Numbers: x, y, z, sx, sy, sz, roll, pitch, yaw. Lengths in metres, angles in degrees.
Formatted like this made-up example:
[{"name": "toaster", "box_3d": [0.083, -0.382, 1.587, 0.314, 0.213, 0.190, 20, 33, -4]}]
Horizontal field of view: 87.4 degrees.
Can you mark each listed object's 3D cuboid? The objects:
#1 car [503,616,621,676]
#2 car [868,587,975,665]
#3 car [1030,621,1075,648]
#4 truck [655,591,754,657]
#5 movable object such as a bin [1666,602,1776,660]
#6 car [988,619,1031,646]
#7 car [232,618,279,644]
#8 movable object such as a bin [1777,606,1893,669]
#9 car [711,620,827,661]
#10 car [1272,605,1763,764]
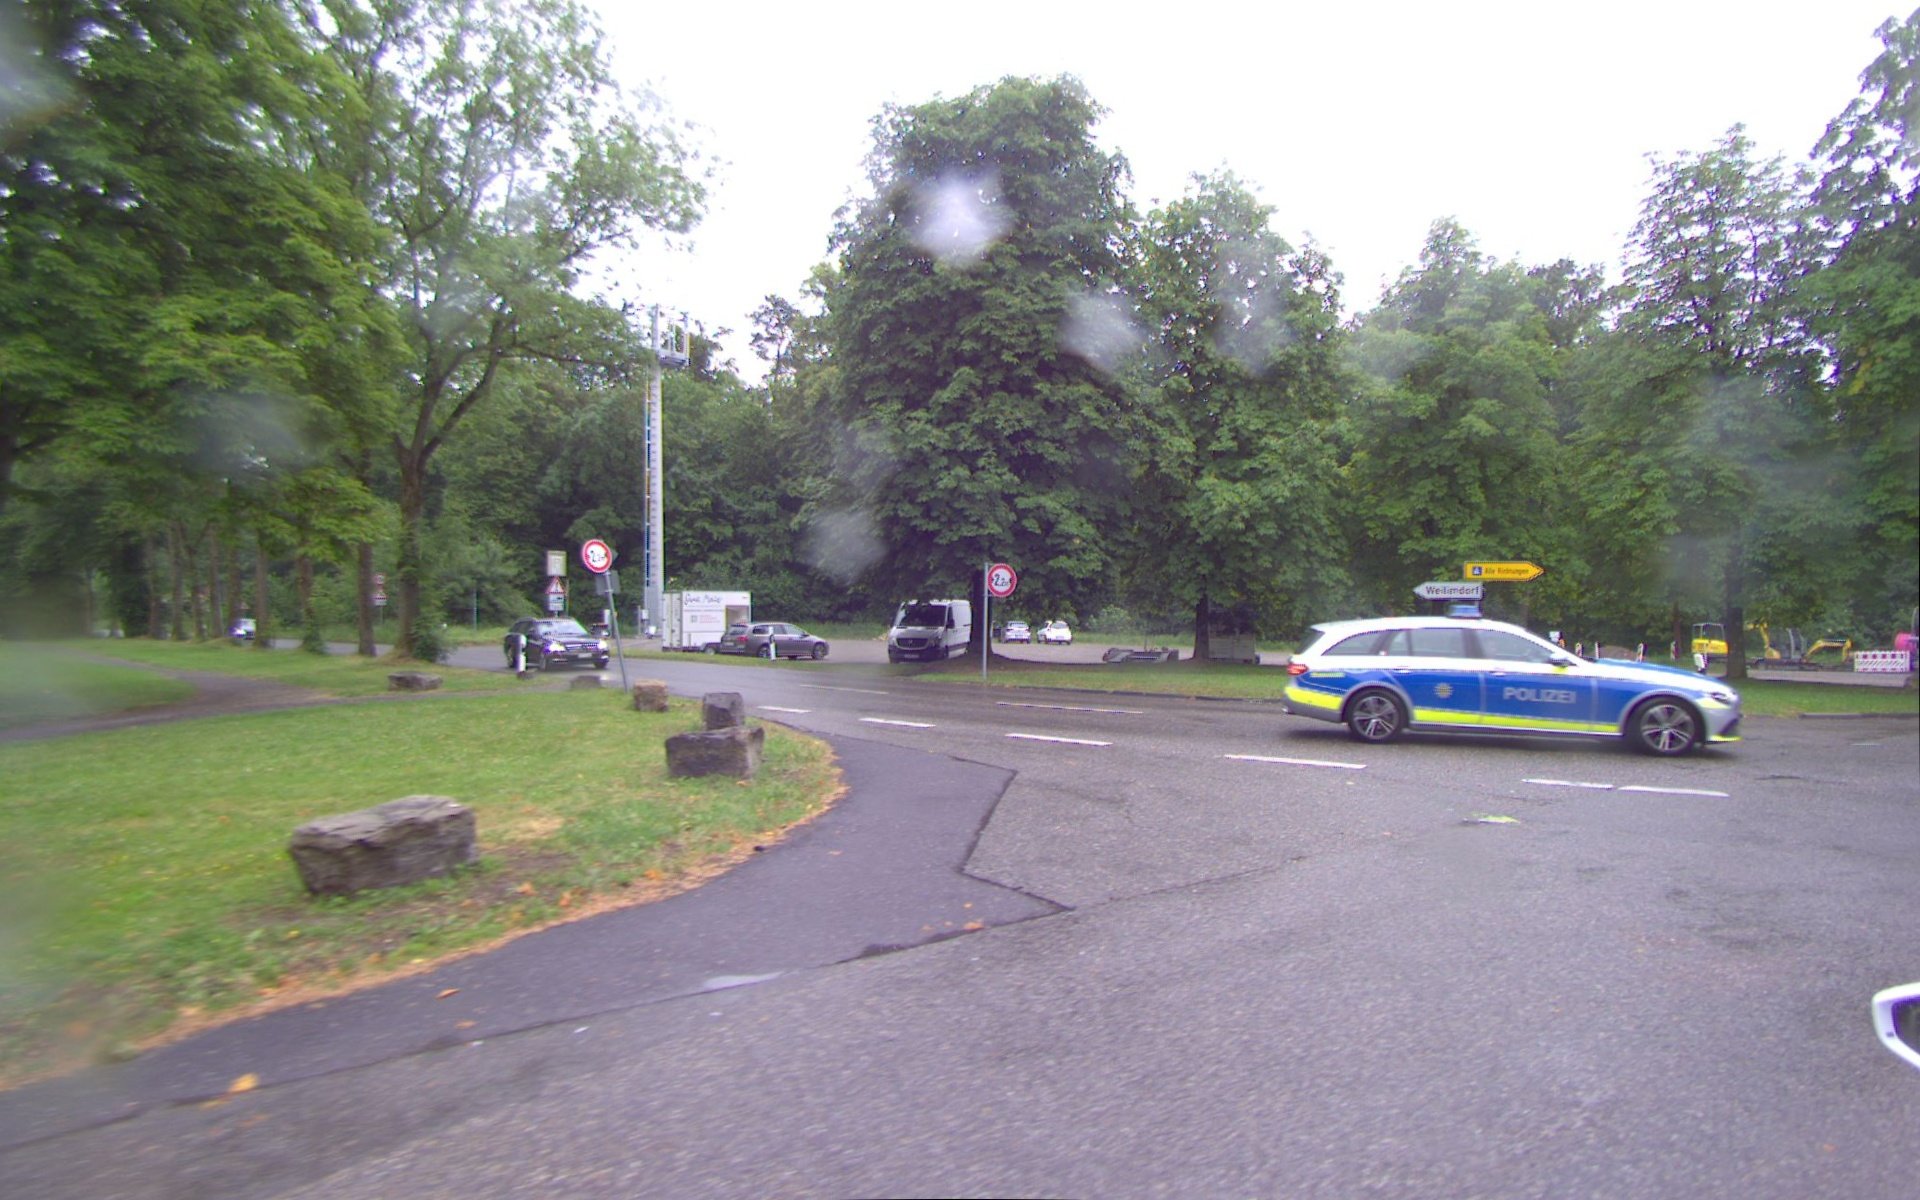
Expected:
[{"name": "car", "box_3d": [-11.504, 1.262, 28.921, 1.720, 1.502, 4.123, 1, 0, -44]}, {"name": "car", "box_3d": [-1.239, 0.924, 35.927, 2.344, 2.439, 5.988, 2, -1, 12]}, {"name": "car", "box_3d": [6.007, 2.247, 65.697, 1.964, 1.606, 3.992, 1, 0, -10]}, {"name": "truck", "box_3d": [-10.099, 0.928, 39.869, 3.327, 2.475, 1.851, 1, 0, -44]}, {"name": "movable object such as a bin", "box_3d": [46.160, 1.853, 60.957, 3.883, 3.338, 4.615, 1, -1, -41]}, {"name": "car", "box_3d": [3.207, 2.118, 65.487, 1.964, 1.606, 3.992, 1, 0, -10]}, {"name": "car", "box_3d": [-43.125, 1.879, 61.472, 1.720, 1.502, 4.123, 1, -1, -44]}, {"name": "movable object such as a bin", "box_3d": [49.965, 2.090, 57.406, 3.637, 3.338, 4.542, 1, -1, -41]}, {"name": "car", "box_3d": [-7.154, 1.495, 37.827, 1.743, 1.448, 4.085, 1, -1, 42]}, {"name": "car", "box_3d": [6.362, 0.900, 12.052, 4.810, 1.621, 1.730, -1, -1, 25]}]
